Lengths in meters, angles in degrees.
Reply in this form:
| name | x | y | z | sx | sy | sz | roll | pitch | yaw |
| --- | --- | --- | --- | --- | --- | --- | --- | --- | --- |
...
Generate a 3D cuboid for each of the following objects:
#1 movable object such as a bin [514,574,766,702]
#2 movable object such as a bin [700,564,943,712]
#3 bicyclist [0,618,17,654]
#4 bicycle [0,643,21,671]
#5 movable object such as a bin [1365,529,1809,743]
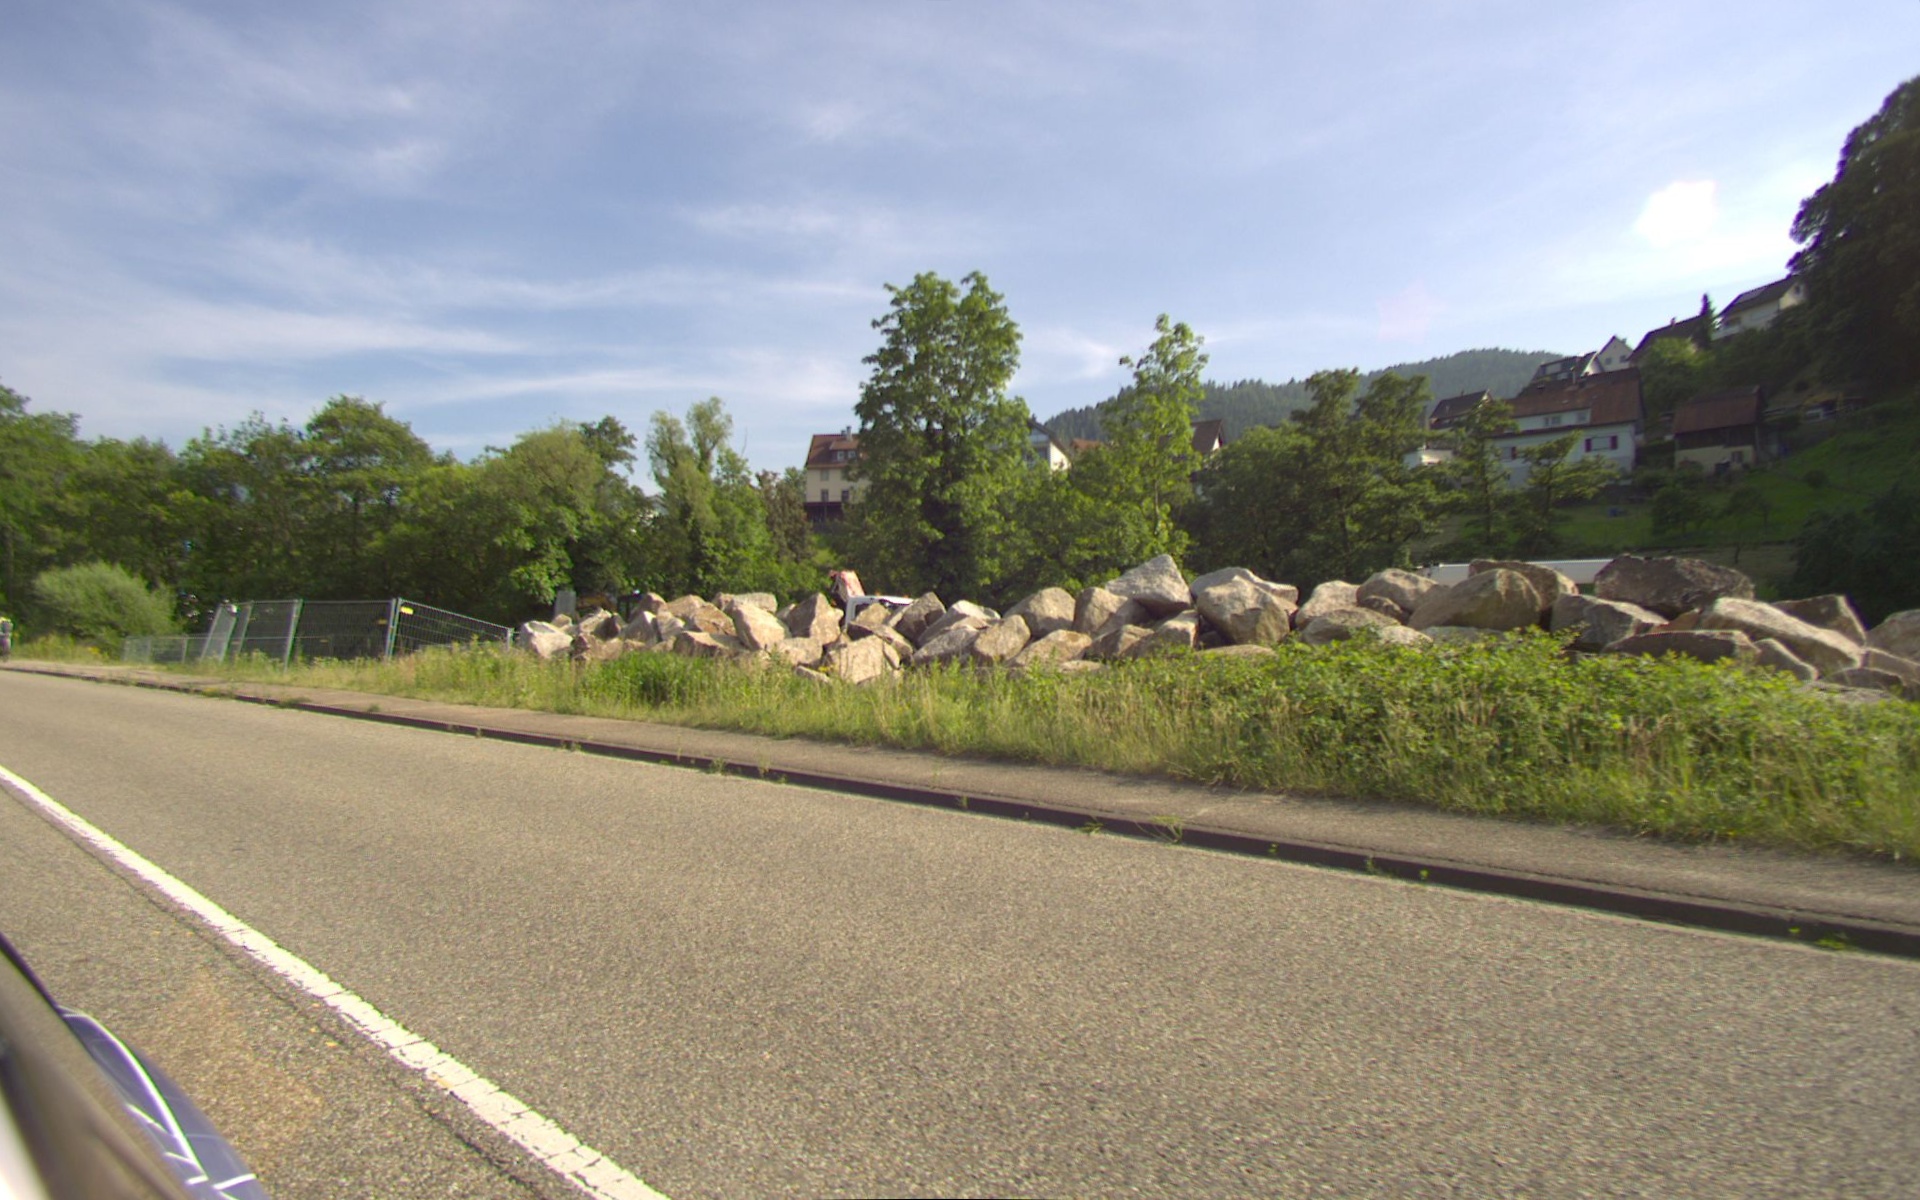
| name | x | y | z | sx | sy | sz | roll | pitch | yaw |
| --- | --- | --- | --- | --- | --- | --- | --- | --- | --- |
| movable object such as a bin | -11.341 | 1.335 | 35.240 | 9.963 | 3.978 | 2.676 | -1 | -4 | 34 |
| movable object such as a bin | -4.255 | 1.145 | 30.378 | 7.212 | 3.978 | 2.698 | -1 | -4 | 35 |
| bicyclist | -33.201 | 1.248 | 35.014 | 0.856 | 1.234 | 0.678 | -1 | -2 | 35 |
| bicycle | -33.149 | 1.965 | 35.007 | 2.248 | 0.888 | 0.534 | -1 | -1 | 36 |
| movable object such as a bin | 13.311 | 0.813 | 22.215 | 7.789 | 3.978 | 2.873 | -1 | -4 | 35 |
